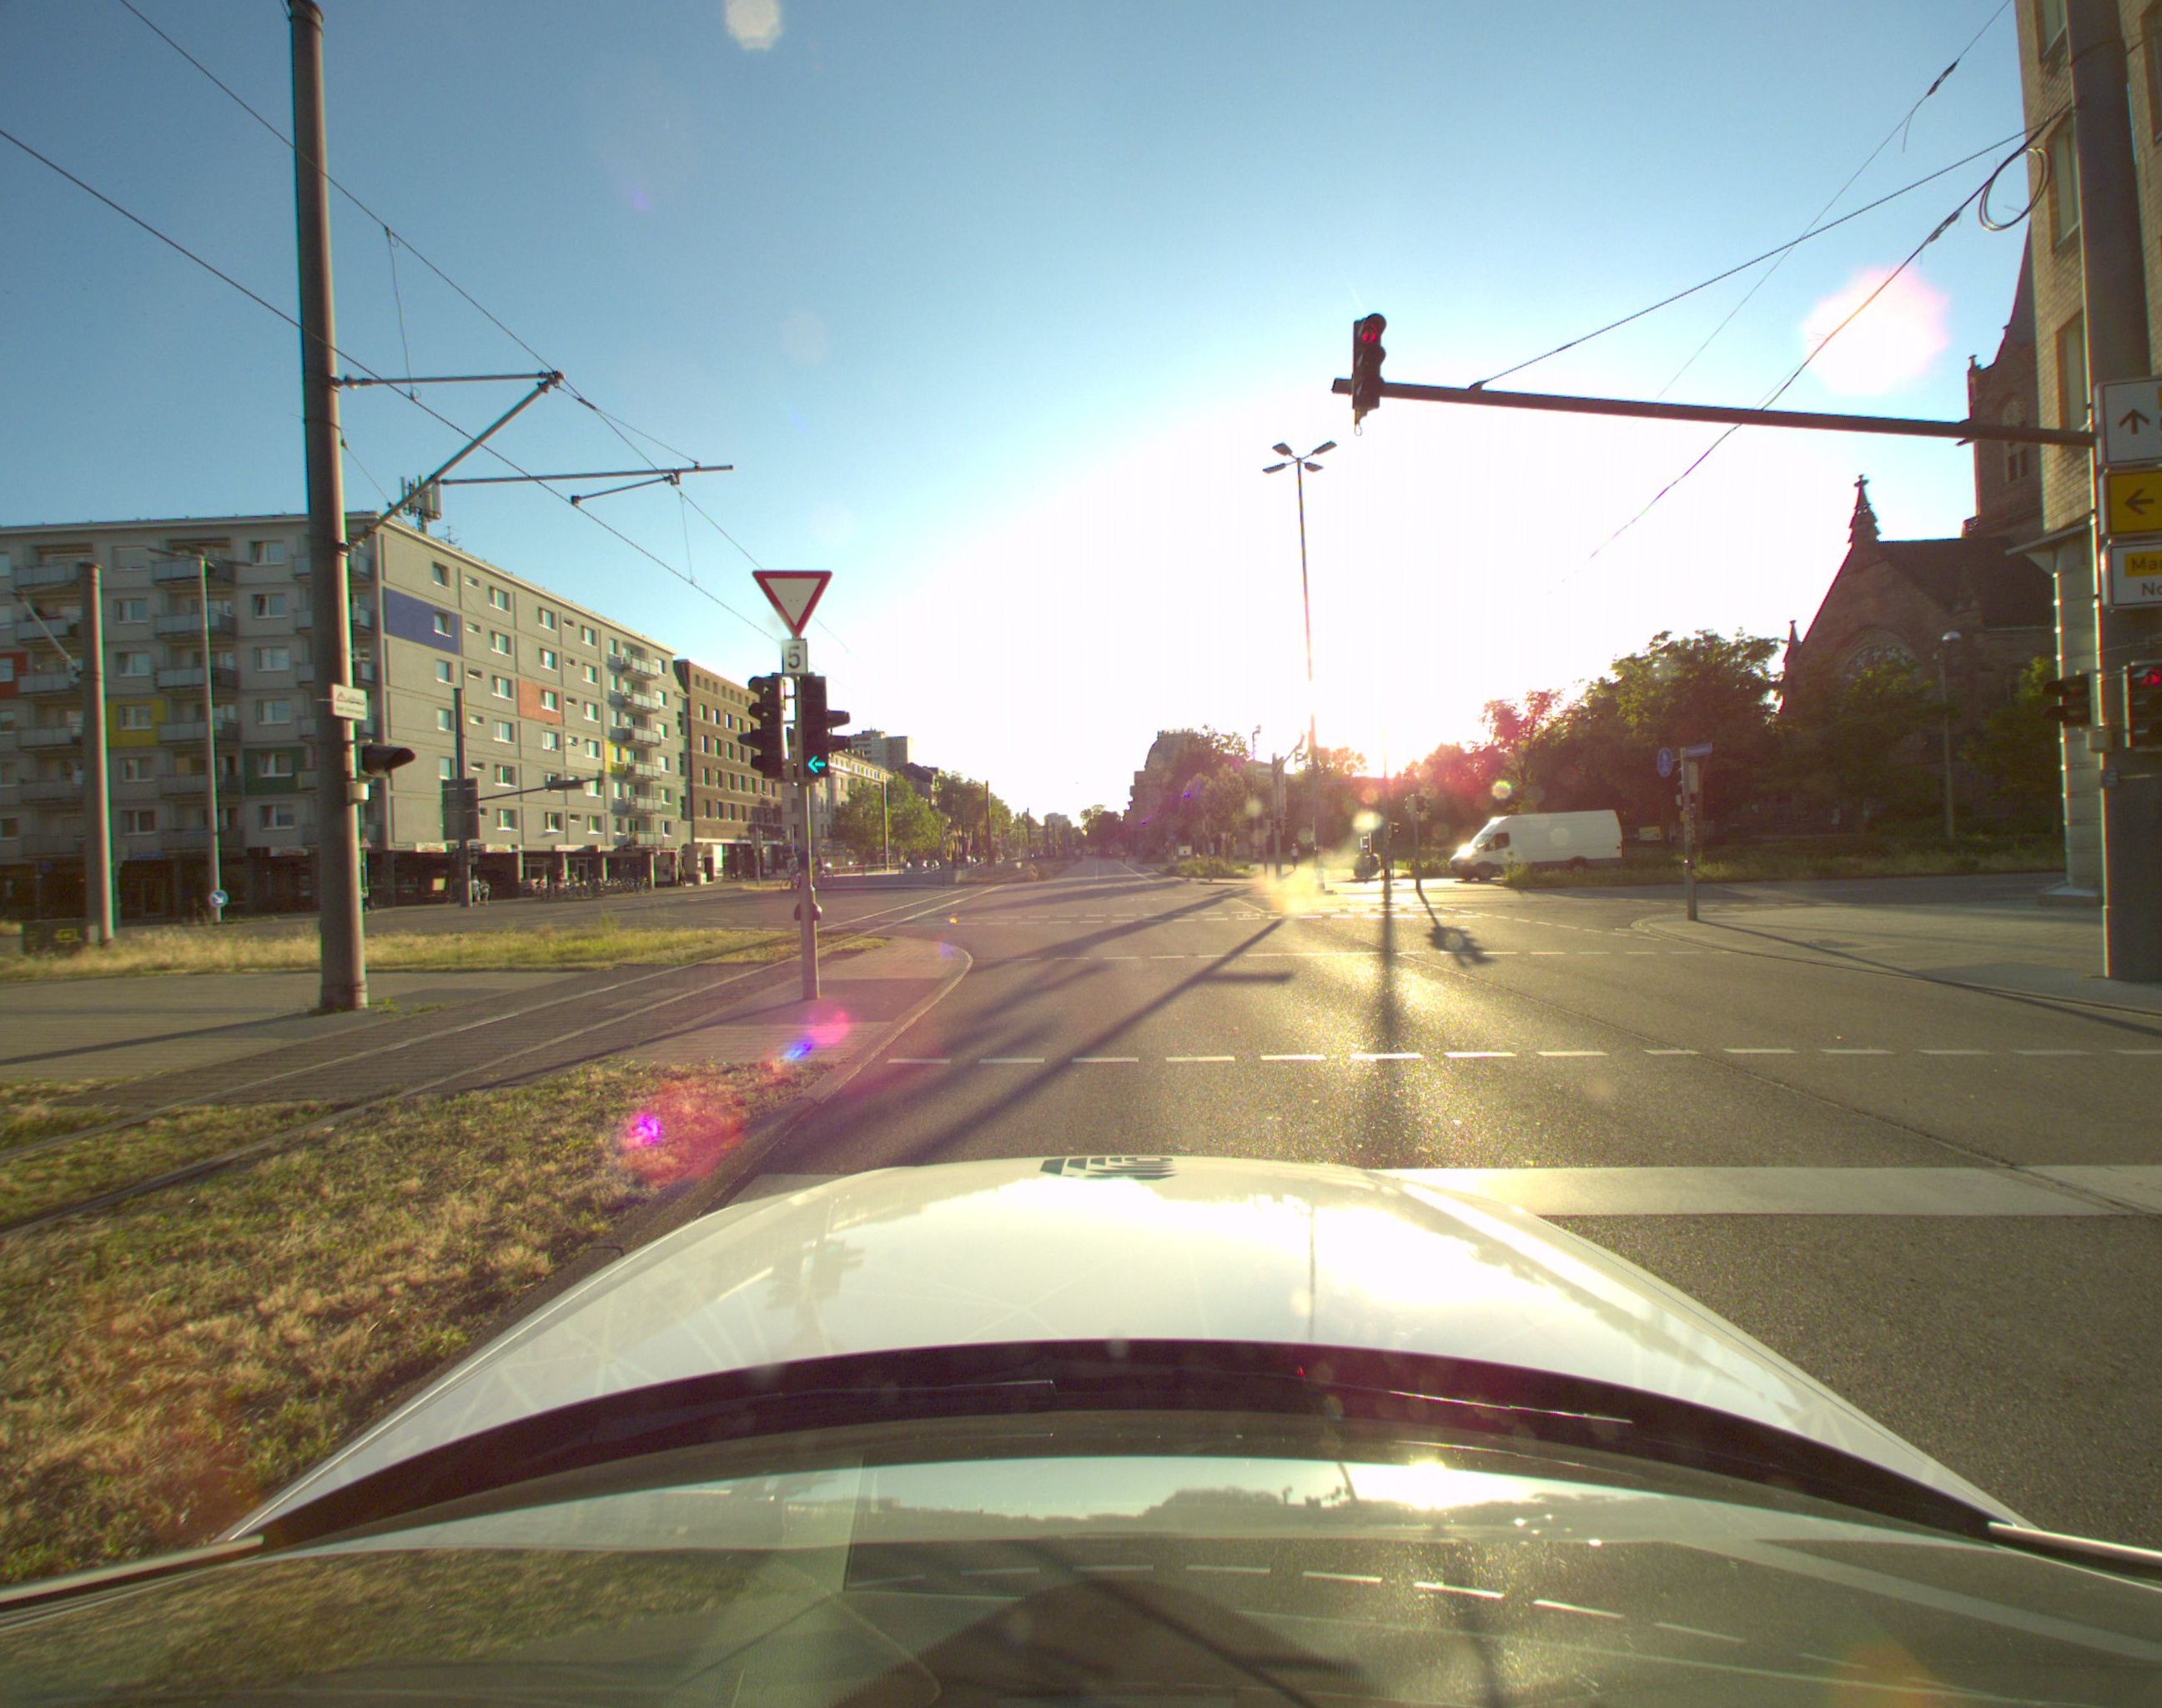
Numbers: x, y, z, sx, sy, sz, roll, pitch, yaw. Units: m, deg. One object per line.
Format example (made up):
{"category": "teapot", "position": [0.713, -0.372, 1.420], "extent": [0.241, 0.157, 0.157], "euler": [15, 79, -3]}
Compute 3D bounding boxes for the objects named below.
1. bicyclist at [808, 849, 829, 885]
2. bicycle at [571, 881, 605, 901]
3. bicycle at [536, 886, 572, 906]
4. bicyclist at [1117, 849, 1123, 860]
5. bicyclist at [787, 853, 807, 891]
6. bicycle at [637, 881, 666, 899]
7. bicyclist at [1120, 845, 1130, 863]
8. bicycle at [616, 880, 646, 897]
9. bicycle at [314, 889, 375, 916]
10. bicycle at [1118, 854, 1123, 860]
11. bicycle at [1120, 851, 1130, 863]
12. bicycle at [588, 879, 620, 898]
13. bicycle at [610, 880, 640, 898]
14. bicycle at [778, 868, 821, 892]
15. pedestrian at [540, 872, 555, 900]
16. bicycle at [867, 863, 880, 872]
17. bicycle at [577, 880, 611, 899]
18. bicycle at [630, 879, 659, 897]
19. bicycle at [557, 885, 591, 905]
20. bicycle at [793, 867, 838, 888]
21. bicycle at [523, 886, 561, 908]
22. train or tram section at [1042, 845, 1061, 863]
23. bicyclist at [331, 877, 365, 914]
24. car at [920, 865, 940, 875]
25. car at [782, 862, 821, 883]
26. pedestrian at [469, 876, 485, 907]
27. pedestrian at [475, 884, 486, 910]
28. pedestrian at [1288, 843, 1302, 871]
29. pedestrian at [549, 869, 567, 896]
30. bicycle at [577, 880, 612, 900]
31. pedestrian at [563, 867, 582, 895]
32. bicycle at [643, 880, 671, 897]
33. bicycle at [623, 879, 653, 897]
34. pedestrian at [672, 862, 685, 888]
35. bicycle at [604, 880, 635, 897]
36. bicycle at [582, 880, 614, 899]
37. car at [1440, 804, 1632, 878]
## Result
{"category": "bicyclist", "position": [-13.602, 0.650, 42.211], "extent": [0.876, 1.818, 0.536], "euler": [-2, 0, -12]}
{"category": "bicycle", "position": [-31.268, 2.333, 51.654], "extent": [1.762, 1.182, 0.568], "euler": [-2, 0, 1]}
{"category": "bicycle", "position": [-32.254, 2.577, 49.831], "extent": [1.770, 1.142, 0.608], "euler": [-2, 0, 1]}
{"category": "bicyclist", "position": [7.478, 0.086, 155.823], "extent": [0.922, 2.013, 0.851], "euler": [-2, 0, 1]}
{"category": "bicyclist", "position": [-13.994, 0.895, 40.133], "extent": [0.793, 1.818, 0.643], "euler": [-2, 0, -12]}
{"category": "bicycle", "position": [-30.808, 2.573, 58.403], "extent": [1.683, 1.170, 0.749], "euler": [-2, 0, 3]}
{"category": "bicyclist", "position": [5.465, -0.015, 100.929], "extent": [1.078, 2.276, 0.986], "euler": [-2, 0, 1]}
{"category": "bicycle", "position": [-31.050, 2.371, 56.192], "extent": [1.719, 1.124, 0.634], "euler": [-2, -1, 3]}
{"category": "bicycle", "position": [-29.262, 1.924, 32.381], "extent": [0.503, 0.944, 1.678], "euler": [-2, 0, 30]}
{"category": "bicycle", "position": [7.492, 0.510, 155.711], "extent": [0.921, 1.111, 2.334], "euler": [-2, 0, 2]}
{"category": "bicycle", "position": [5.456, 0.394, 100.930], "extent": [1.094, 1.399, 2.833], "euler": [-2, 0, 2]}
{"category": "bicycle", "position": [-31.872, 2.307, 54.424], "extent": [1.764, 1.136, 0.606], "euler": [-2, 0, 2]}
{"category": "bicycle", "position": [-31.106, 2.378, 55.555], "extent": [1.754, 1.119, 0.568], "euler": [-2, 0, 2]}
{"category": "bicycle", "position": [-13.863, 1.273, 40.173], "extent": [1.902, 1.075, 0.630], "euler": [-2, 0, -12]}
{"category": "pedestrian", "position": [-33.090, 1.973, 50.486], "extent": [0.580, 1.684, 0.544], "euler": [-2, 0, -15]}
{"category": "bicycle", "position": [-27.517, 1.790, 107.970], "extent": [0.809, 1.201, 2.415], "euler": [-2, 0, 4]}
{"category": "bicycle", "position": [-31.773, 2.337, 53.111], "extent": [1.824, 1.160, 0.640], "euler": [-2, 0, 1]}
{"category": "bicycle", "position": [-30.886, 2.383, 57.631], "extent": [1.683, 1.179, 0.749], "euler": [-2, 0, 3]}
{"category": "bicycle", "position": [-31.426, 2.537, 50.475], "extent": [1.750, 1.139, 0.600], "euler": [-2, 0, 2]}
{"category": "bicycle", "position": [-13.738, 1.210, 42.176], "extent": [2.165, 1.083, 0.536], "euler": [0, -1, -12]}
{"category": "bicycle", "position": [-32.283, 2.555, 48.796], "extent": [1.788, 1.208, 0.638], "euler": [-2, 0, 0]}
{"category": "train or tram section", "position": [-7.041, -0.012, 196.499], "extent": [4.375, 3.850, 11.400], "euler": [-2, 0, -2]}
{"category": "bicyclist", "position": [-29.217, 1.647, 32.479], "extent": [0.494, 1.426, 0.863], "euler": [-2, 0, 31]}
{"category": "car", "position": [-22.946, 2.460, 123.980], "extent": [1.810, 1.420, 4.006], "euler": [-2, 0, 5]}
{"category": "car", "position": [-24.346, 1.561, 71.099], "extent": [1.681, 1.618, 4.005], "euler": [-3, 0, 4]}
{"category": "pedestrian", "position": [-32.473, 2.015, 43.781], "extent": [0.575, 1.620, 0.598], "euler": [-2, 0, -29]}
{"category": "pedestrian", "position": [-32.838, 2.330, 44.527], "extent": [0.383, 1.383, 0.392], "euler": [-2, 0, -26]}
{"category": "pedestrian", "position": [14.268, 0.196, 54.356], "extent": [0.826, 1.803, 0.814], "euler": [-2, 0, 17]}
{"category": "pedestrian", "position": [-35.508, 1.925, 55.280], "extent": [0.826, 1.813, 0.719], "euler": [0, 0, -9]}
{"category": "bicycle", "position": [-31.249, 2.312, 52.296], "extent": [1.782, 1.191, 0.652], "euler": [-2, 0, 1]}
{"category": "pedestrian", "position": [-34.397, 1.827, 55.117], "extent": [0.785, 1.841, 0.733], "euler": [-2, 0, -7]}
{"category": "bicycle", "position": [-30.786, 2.531, 59.136], "extent": [1.683, 1.144, 0.697], "euler": [-2, 0, 3]}
{"category": "bicycle", "position": [-30.949, 2.382, 56.869], "extent": [1.683, 1.153, 0.706], "euler": [-2, 0, 3]}
{"category": "pedestrian", "position": [-34.289, 1.759, 69.424], "extent": [0.599, 2.178, 0.792], "euler": [-2, 0, 1]}
{"category": "bicycle", "position": [-31.141, 2.332, 54.969], "extent": [1.748, 1.117, 0.552], "euler": [-2, 0, 2]}
{"category": "bicycle", "position": [-31.875, 2.350, 53.745], "extent": [1.769, 1.159, 0.606], "euler": [-2, 0, 1]}
{"category": "car", "position": [19.522, -0.548, 35.191], "extent": [6.981, 2.827, 2.095], "euler": [-2, 0, 3]}
